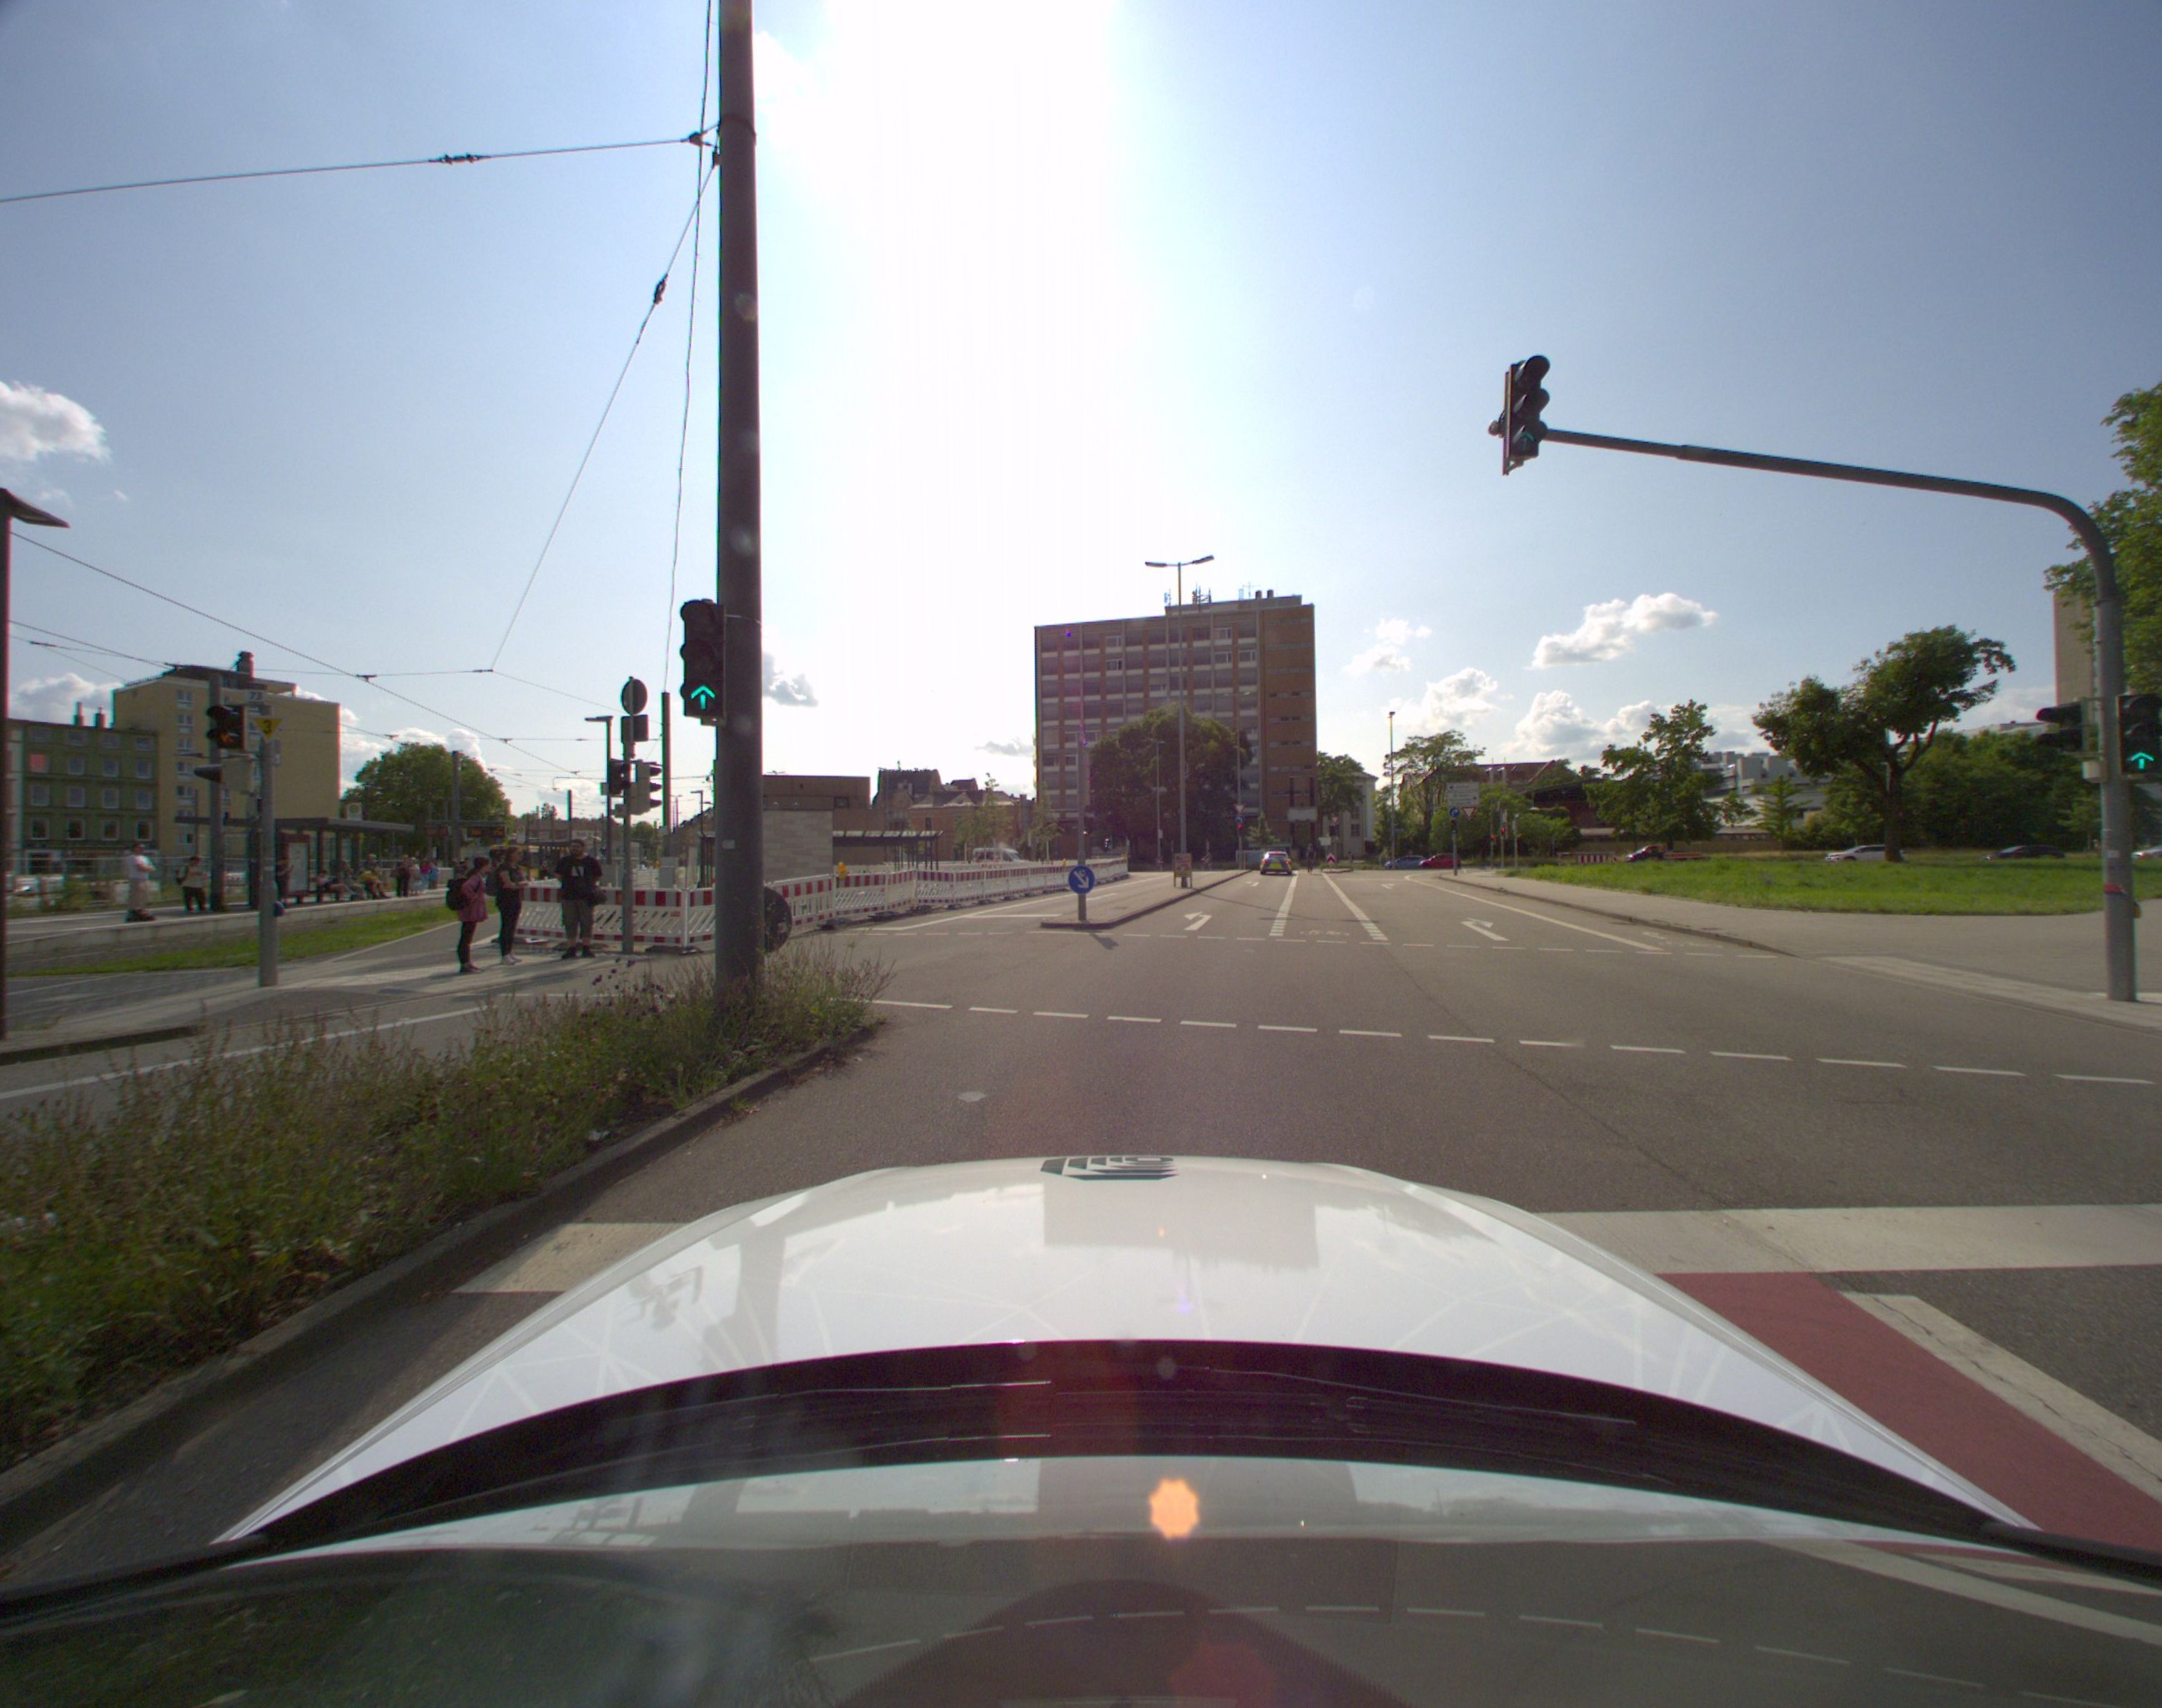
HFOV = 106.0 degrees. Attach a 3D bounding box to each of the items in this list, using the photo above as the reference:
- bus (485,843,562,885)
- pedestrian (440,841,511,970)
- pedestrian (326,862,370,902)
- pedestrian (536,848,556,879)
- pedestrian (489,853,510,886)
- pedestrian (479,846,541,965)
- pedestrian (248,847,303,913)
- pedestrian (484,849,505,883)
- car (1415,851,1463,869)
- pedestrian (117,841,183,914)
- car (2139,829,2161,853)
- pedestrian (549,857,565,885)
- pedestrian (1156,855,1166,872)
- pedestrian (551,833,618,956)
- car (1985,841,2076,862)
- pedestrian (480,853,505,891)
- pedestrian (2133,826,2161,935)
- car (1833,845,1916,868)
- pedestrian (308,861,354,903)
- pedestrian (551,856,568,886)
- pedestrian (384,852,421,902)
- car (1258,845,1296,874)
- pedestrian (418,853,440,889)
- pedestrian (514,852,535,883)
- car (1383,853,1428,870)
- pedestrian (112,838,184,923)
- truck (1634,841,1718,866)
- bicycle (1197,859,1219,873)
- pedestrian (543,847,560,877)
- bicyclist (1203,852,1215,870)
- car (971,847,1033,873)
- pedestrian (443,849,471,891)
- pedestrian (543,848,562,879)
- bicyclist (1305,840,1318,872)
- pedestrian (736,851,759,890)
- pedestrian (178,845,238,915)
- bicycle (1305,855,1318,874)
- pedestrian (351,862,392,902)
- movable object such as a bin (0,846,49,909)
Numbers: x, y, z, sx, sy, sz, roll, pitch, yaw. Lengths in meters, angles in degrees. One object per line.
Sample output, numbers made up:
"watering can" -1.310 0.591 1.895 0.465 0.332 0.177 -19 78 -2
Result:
"bus" -43.050 0.742 63.260 2.431 2.982 10.471 -1 0 -20
"pedestrian" -8.381 0.689 11.295 0.613 1.706 0.618 -1 0 -20
"pedestrian" -26.351 0.993 29.295 0.943 1.431 0.726 0 -1 -18
"pedestrian" -35.051 0.621 53.352 0.722 2.014 0.949 -1 -2 45
"pedestrian" -36.153 0.975 50.656 0.722 2.014 0.949 -1 -2 45
"pedestrian" -8.584 0.751 12.256 0.405 1.736 0.624 -1 0 15
"pedestrian" -24.896 0.802 25.195 0.943 2.014 0.726 0 -1 -18
"pedestrian" -35.787 0.735 49.704 0.722 2.014 0.949 -1 -2 45
"car" 31.266 0.510 71.162 3.689 1.456 1.636 -1 -1 27
"pedestrian" -26.169 0.649 22.910 0.943 2.014 0.726 0 -1 -18
"car" 75.183 -0.925 55.250 3.879 1.609 1.634 -1 -1 19
"pedestrian" -37.844 1.206 58.812 0.947 2.014 0.724 0 -1 -31
"pedestrian" 9.208 1.077 93.448 0.936 1.883 0.912 -1 0 18
"pedestrian" -7.962 0.621 13.053 0.798 1.885 0.606 -1 0 -42
"car" 67.331 -0.177 57.801 3.880 1.419 1.634 -1 -1 18
"pedestrian" -31.569 0.964 43.682 0.722 2.014 0.949 -1 -1 40
"pedestrian" 16.666 0.394 12.339 0.890 1.639 0.742 -1 -1 -31
"car" 58.851 0.169 60.493 4.118 1.609 1.634 -1 -1 18
"pedestrian" -26.164 0.968 28.436 0.943 1.431 0.726 0 -1 -18
"pedestrian" -35.758 1.155 55.868 0.947 2.014 0.724 0 -1 -31
"pedestrian" -28.072 0.939 33.720 0.943 2.014 0.726 0 -1 -18
"car" 12.153 0.300 50.335 2.114 1.684 4.119 1 0 15
"pedestrian" -37.144 0.953 46.377 0.732 2.014 0.936 0 -1 -23
"pedestrian" -35.922 0.860 52.579 0.722 2.014 0.949 -1 -2 45
"car" 29.796 0.687 74.818 3.689 1.456 1.636 -1 -1 27
"pedestrian" -22.642 0.635 19.779 0.817 2.014 0.794 0 -1 -18
"truck" 47.164 -0.041 64.686 5.070 1.838 2.011 -1 -1 23
"bicycle" 10.734 0.986 68.637 2.203 1.084 0.628 -2 1 -44
"pedestrian" -36.935 0.559 56.817 0.947 2.014 0.724 0 -1 -31
"bicyclist" 10.793 0.617 68.705 0.844 1.470 0.628 -2 1 -44
"car" -7.475 0.565 76.548 5.516 2.319 2.316 -2 -1 34
"pedestrian" -30.379 0.768 39.657 0.722 2.014 0.949 -1 -2 45
"pedestrian" -35.208 0.634 54.254 0.722 2.014 0.949 -1 -2 45
"bicyclist" 14.566 0.101 51.544 0.713 1.973 0.843 -1 0 15
"pedestrian" -15.455 0.761 37.722 0.938 1.790 1.169 0 -1 -25
"pedestrian" -25.376 0.747 23.690 0.943 2.014 0.726 0 -1 -18
"bicycle" 14.566 0.651 51.492 0.715 1.084 2.199 -1 1 15
"pedestrian" -26.458 1.033 30.382 0.943 1.431 0.726 0 -1 -18
"movable object such as a bin" -45.226 0.977 32.827 2.649 2.574 3.976 -1 0 -18
